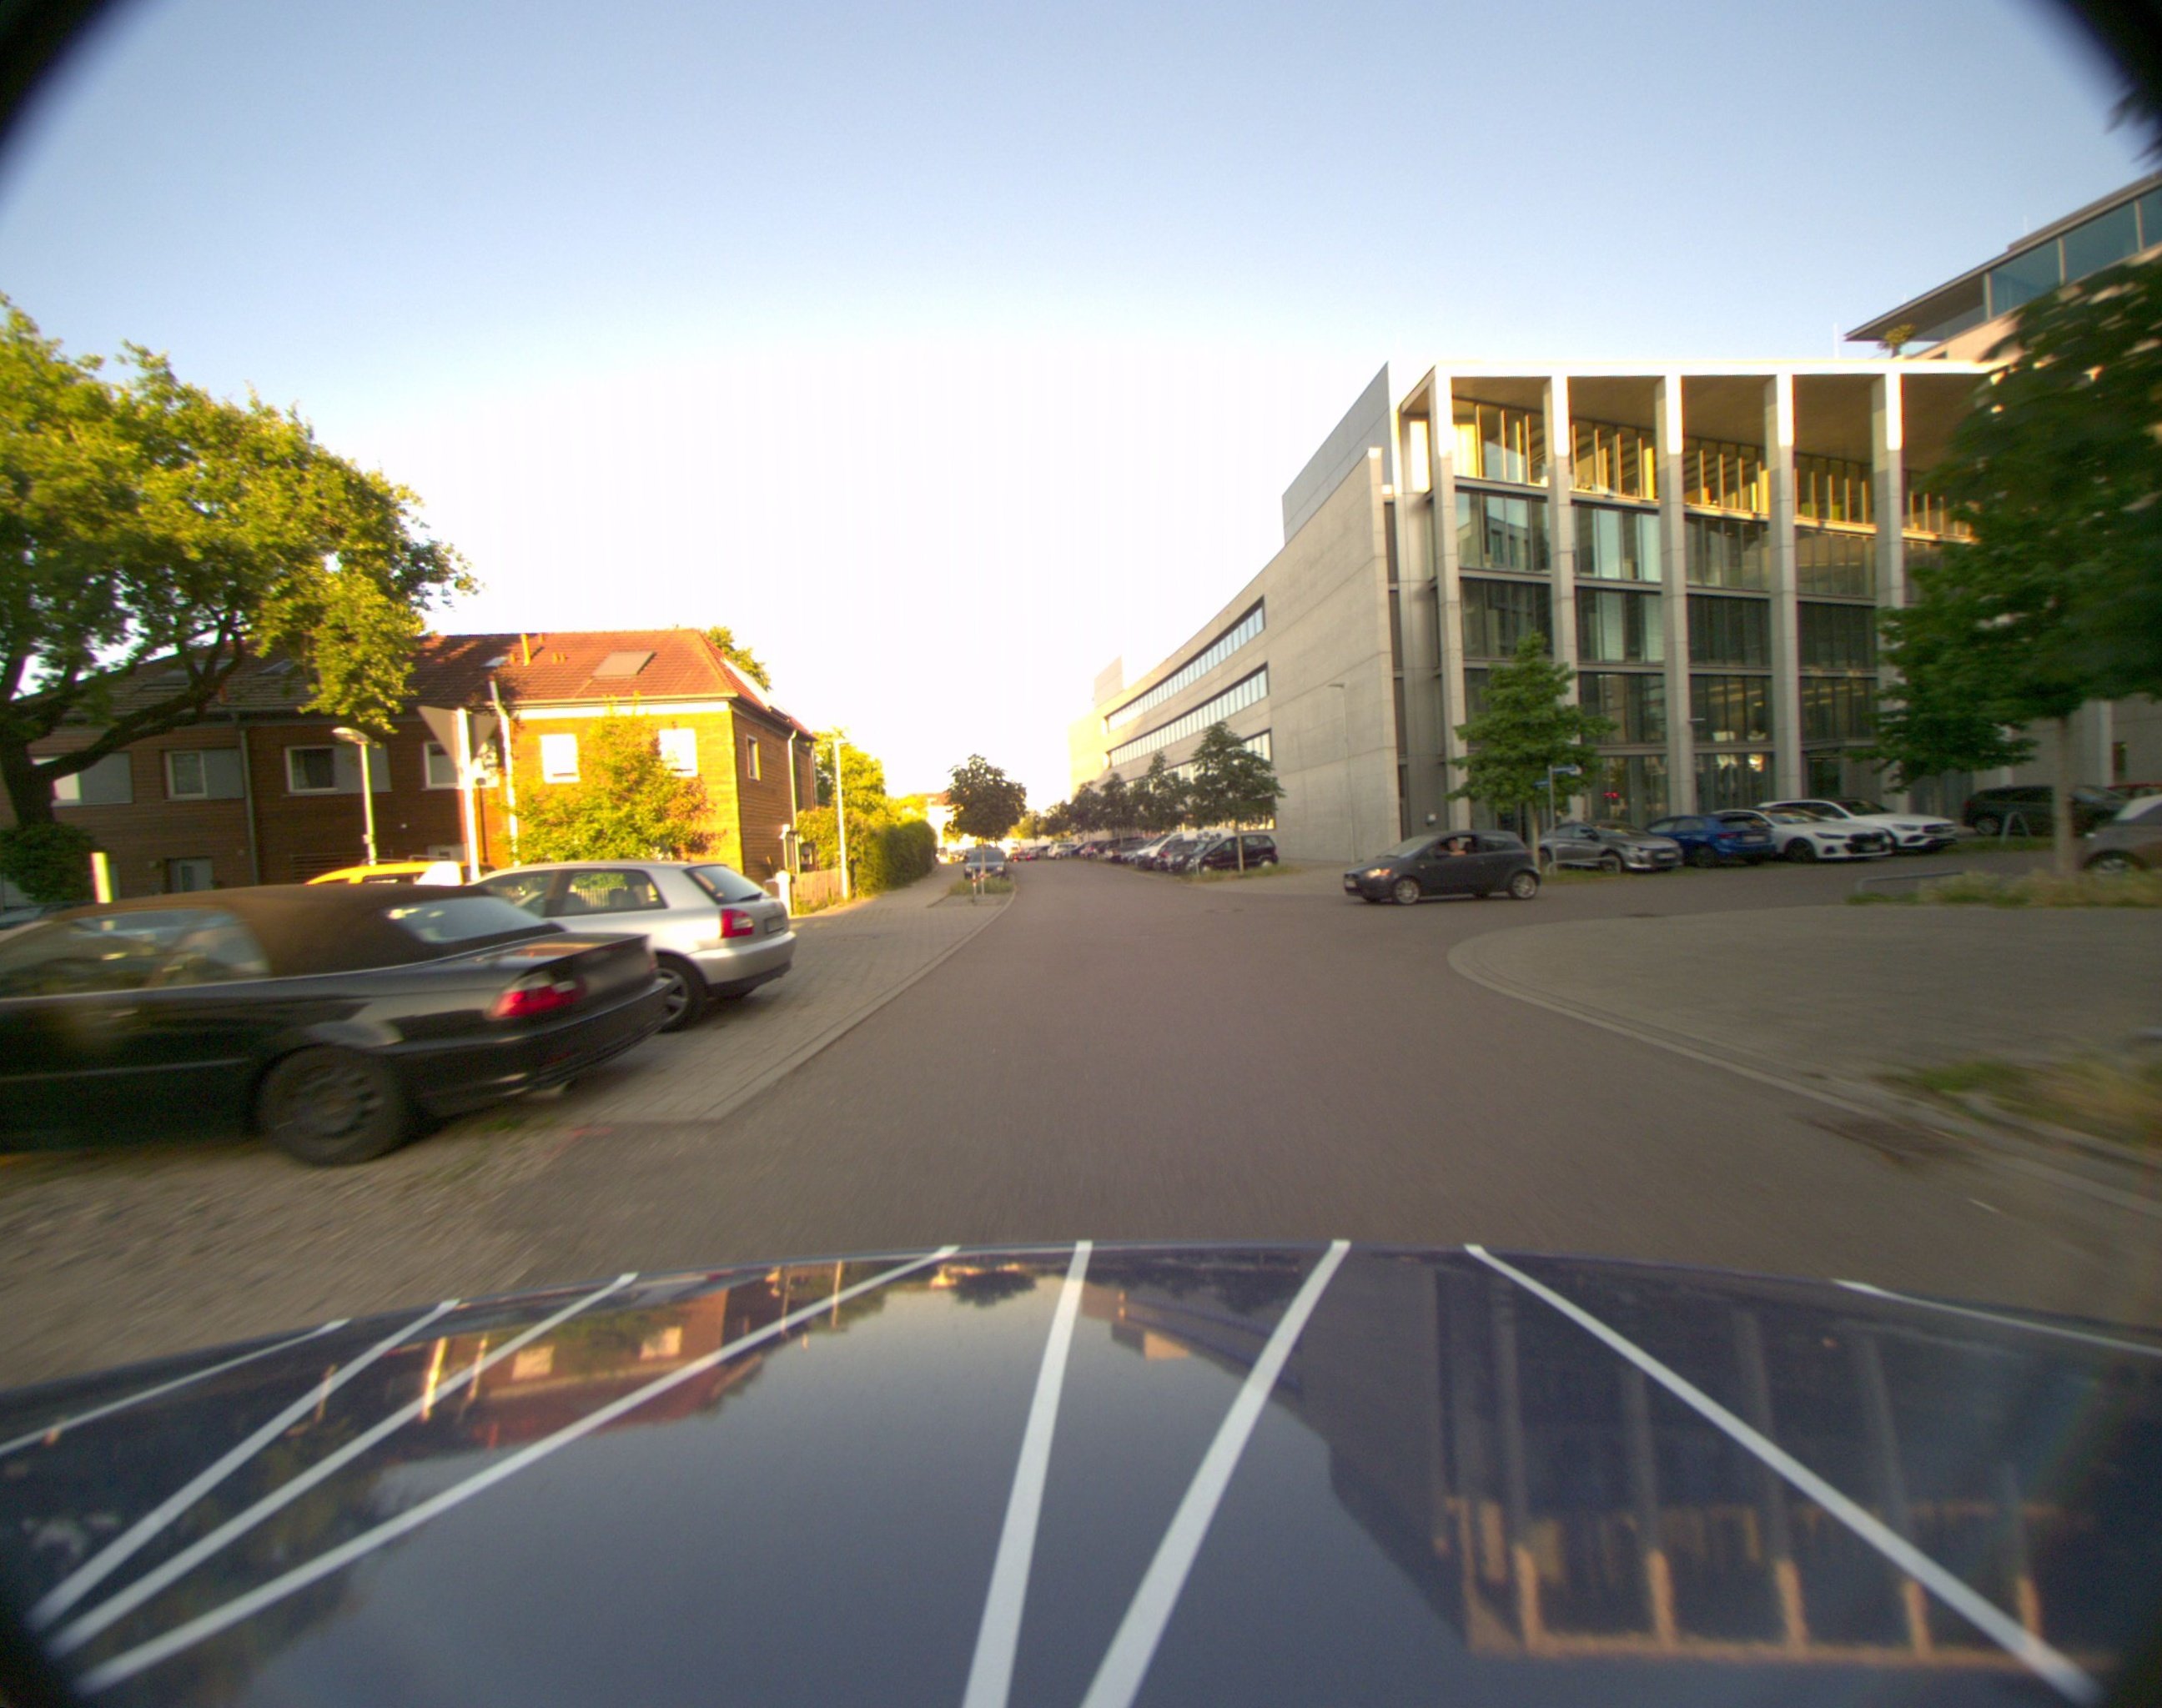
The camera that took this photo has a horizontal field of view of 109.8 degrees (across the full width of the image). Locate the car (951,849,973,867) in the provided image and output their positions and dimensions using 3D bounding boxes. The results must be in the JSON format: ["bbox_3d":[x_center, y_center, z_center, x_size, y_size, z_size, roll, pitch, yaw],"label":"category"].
[{"bbox_3d":[-10.873,0.308,69.132,1.771,1.454,4.363,-4,1,-10],"label":"car"}]

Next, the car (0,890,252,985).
[{"bbox_3d":[-18.404,1.517,14.099,3.608,1.447,1.957,-3,0,-7],"label":"car"}]

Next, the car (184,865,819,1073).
[{"bbox_3d":[-4.687,0.875,6.760,4.067,1.399,1.895,-1,1,-4],"label":"car"}]

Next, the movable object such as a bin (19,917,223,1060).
[{"bbox_3d":[-7.990,1.092,6.371,0.707,1.015,0.711,-3,2,-11],"label":"movable object such as a bin"}]

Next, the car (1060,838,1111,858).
[{"bbox_3d":[0.395,-0.526,66.515,4.029,1.340,1.797,-5,2,-12],"label":"car"}]

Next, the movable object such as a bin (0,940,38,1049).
[{"bbox_3d":[-9.787,1.264,6.665,0.468,0.926,0.526,-2,2,-4],"label":"movable object such as a bin"}]

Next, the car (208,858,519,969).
[{"bbox_3d":[-13.486,1.057,14.524,3.952,1.756,1.781,-3,0,-7],"label":"car"}]

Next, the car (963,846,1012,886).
[{"bbox_3d":[-3.868,0.456,32.095,1.681,1.454,4.366,-2,1,-3],"label":"car"}]

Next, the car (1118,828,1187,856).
[{"bbox_3d":[4.288,-0.702,45.878,3.813,1.353,1.798,-5,2,-7],"label":"car"}]

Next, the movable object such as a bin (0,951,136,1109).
[{"bbox_3d":[-7.887,1.301,5.665,0.707,1.015,0.711,-3,2,-11],"label":"movable object such as a bin"}]

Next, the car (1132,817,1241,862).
[{"bbox_3d":[5.339,-0.744,38.887,5.084,1.870,1.888,-5,2,-7],"label":"car"}]

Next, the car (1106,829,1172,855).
[{"bbox_3d":[3.697,-0.786,48.629,3.813,1.353,1.798,-5,2,-7],"label":"car"}]

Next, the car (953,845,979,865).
[{"bbox_3d":[-9.363,0.089,62.075,1.771,1.454,4.365,-3,1,-5],"label":"car"}]

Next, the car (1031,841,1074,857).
[{"bbox_3d":[-2.966,-0.503,78.917,4.029,1.340,1.797,-5,2,-12],"label":"car"}]

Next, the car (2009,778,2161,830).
[{"bbox_3d":[32.335,-1.557,23.780,1.649,1.497,3.853,-3,3,-7],"label":"car"}]

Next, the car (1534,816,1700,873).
[{"bbox_3d":[14.879,-0.331,21.352,1.649,1.378,3.814,-3,3,-7],"label":"car"}]

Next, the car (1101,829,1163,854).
[{"bbox_3d":[3.400,-0.836,51.075,3.813,1.353,1.798,-5,2,-7],"label":"car"}]

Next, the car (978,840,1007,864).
[{"bbox_3d":[-5.908,-0.176,50.855,1.771,1.454,4.365,-2,1,-6],"label":"car"}]

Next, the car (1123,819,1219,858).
[{"bbox_3d":[5.164,-0.899,43.787,5.084,1.817,1.888,-5,2,-7],"label":"car"}]

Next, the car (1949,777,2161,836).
[{"bbox_3d":[29.764,-1.422,23.145,1.649,1.565,4.132,-3,3,-7],"label":"car"}]

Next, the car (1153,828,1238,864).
[{"bbox_3d":[5.413,-0.384,36.208,3.655,1.416,1.725,-5,2,-3],"label":"car"}]

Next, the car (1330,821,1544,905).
[{"bbox_3d":[7.440,0.158,16.054,3.735,1.487,1.648,-3,1,-5],"label":"car"}]

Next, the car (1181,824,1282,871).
[{"bbox_3d":[6.079,-0.276,30.983,3.655,1.539,1.725,-5,2,-1],"label":"car"}]

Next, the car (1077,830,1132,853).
[{"bbox_3d":[1.896,-0.998,61.699,4.029,1.574,1.797,-5,2,-12],"label":"car"}]

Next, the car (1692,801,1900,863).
[{"bbox_3d":[19.785,-0.654,21.315,1.649,1.484,4.132,-3,3,-7],"label":"car"}]

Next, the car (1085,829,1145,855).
[{"bbox_3d":[2.501,-0.887,56.671,4.029,1.574,1.797,-5,2,-12],"label":"car"}]

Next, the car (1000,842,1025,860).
[{"bbox_3d":[-6.625,-0.333,73.524,1.765,1.611,4.773,-3,1,-12],"label":"car"}]

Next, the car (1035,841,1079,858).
[{"bbox_3d":[-2.434,-0.473,76.536,4.029,1.340,1.797,-5,2,-12],"label":"car"}]

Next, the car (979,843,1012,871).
[{"bbox_3d":[-4.992,0.121,44.334,1.771,1.454,4.365,-2,1,-6],"label":"car"}]

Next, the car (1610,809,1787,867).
[{"bbox_3d":[17.377,-0.508,21.626,1.561,1.421,3.900,-3,3,-7],"label":"car"}]

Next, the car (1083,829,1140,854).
[{"bbox_3d":[2.363,-0.970,59.501,4.029,1.574,1.797,-5,2,-12],"label":"car"}]

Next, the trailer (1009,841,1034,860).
[{"bbox_3d":[-5.463,-0.321,69.411,1.701,1.611,3.760,-3,1,-12],"label":"trailer"}]

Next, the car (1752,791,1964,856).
[{"bbox_3d":[22.290,-0.894,22.065,1.649,1.620,4.132,-3,3,-7],"label":"car"}]

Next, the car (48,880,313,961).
[{"bbox_3d":[-21.097,1.477,18.080,1.957,1.447,3.607,-3,1,-2],"label":"car"}]

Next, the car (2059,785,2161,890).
[{"bbox_3d":[16.328,-0.278,10.094,1.730,1.487,3.721,-4,1,-6],"label":"car"}]

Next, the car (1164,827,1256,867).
[{"bbox_3d":[5.656,-0.313,33.571,3.655,1.416,1.725,-5,2,-1],"label":"car"}]

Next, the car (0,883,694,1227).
[{"bbox_3d":[-4.863,0.963,4.277,4.327,1.326,1.895,-2,2,-4],"label":"car"}]
